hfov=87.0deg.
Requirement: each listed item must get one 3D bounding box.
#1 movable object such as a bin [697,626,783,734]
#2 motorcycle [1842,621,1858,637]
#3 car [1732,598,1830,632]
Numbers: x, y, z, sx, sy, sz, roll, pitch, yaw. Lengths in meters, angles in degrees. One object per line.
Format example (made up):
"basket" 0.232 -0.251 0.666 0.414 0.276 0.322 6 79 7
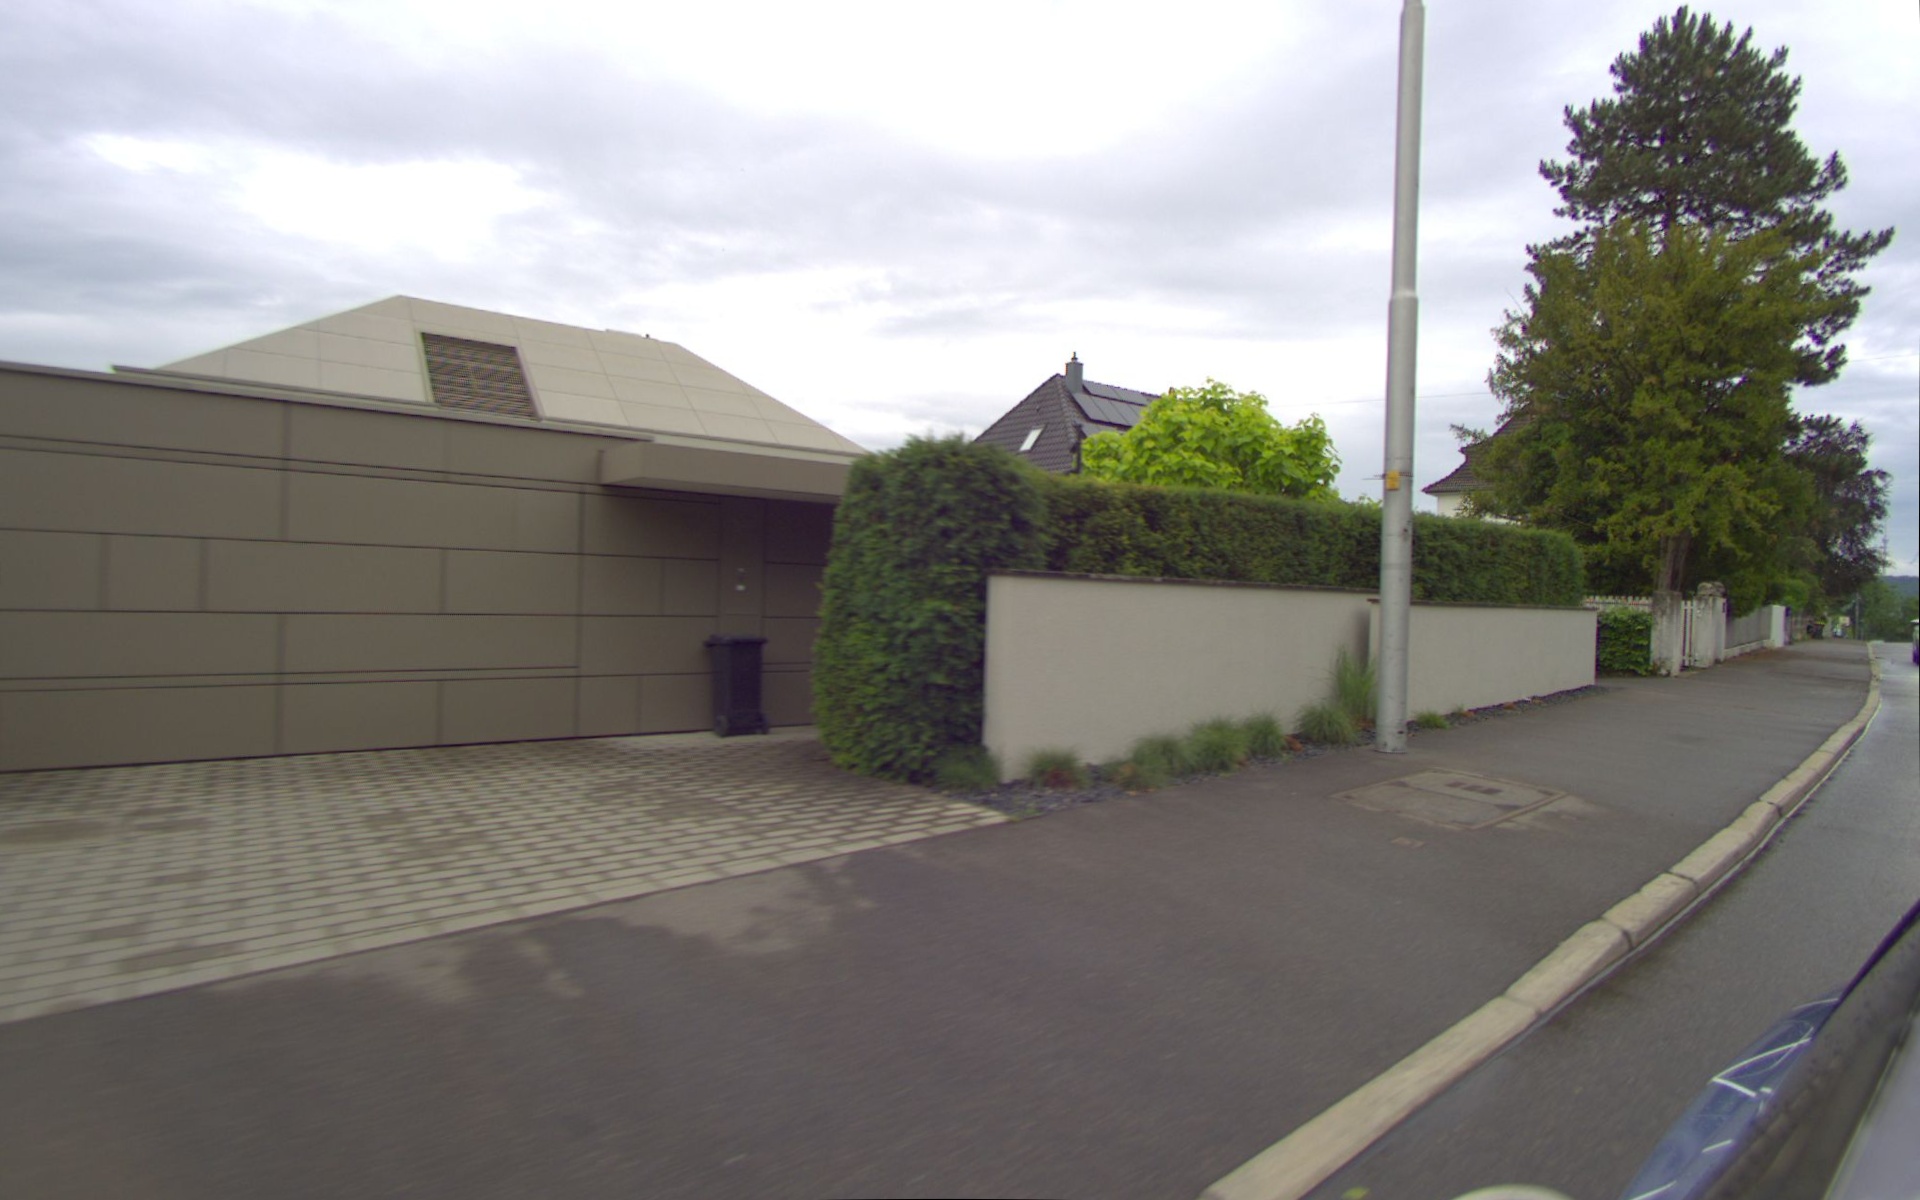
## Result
"movable object such as a bin" -2.050 0.729 9.411 0.578 0.949 0.576 3 -2 -33
"motorcycle" 72.911 2.375 82.908 2.117 1.240 0.694 3 4 -44
"car" 43.802 0.782 54.019 3.986 1.661 1.888 1 -2 43
